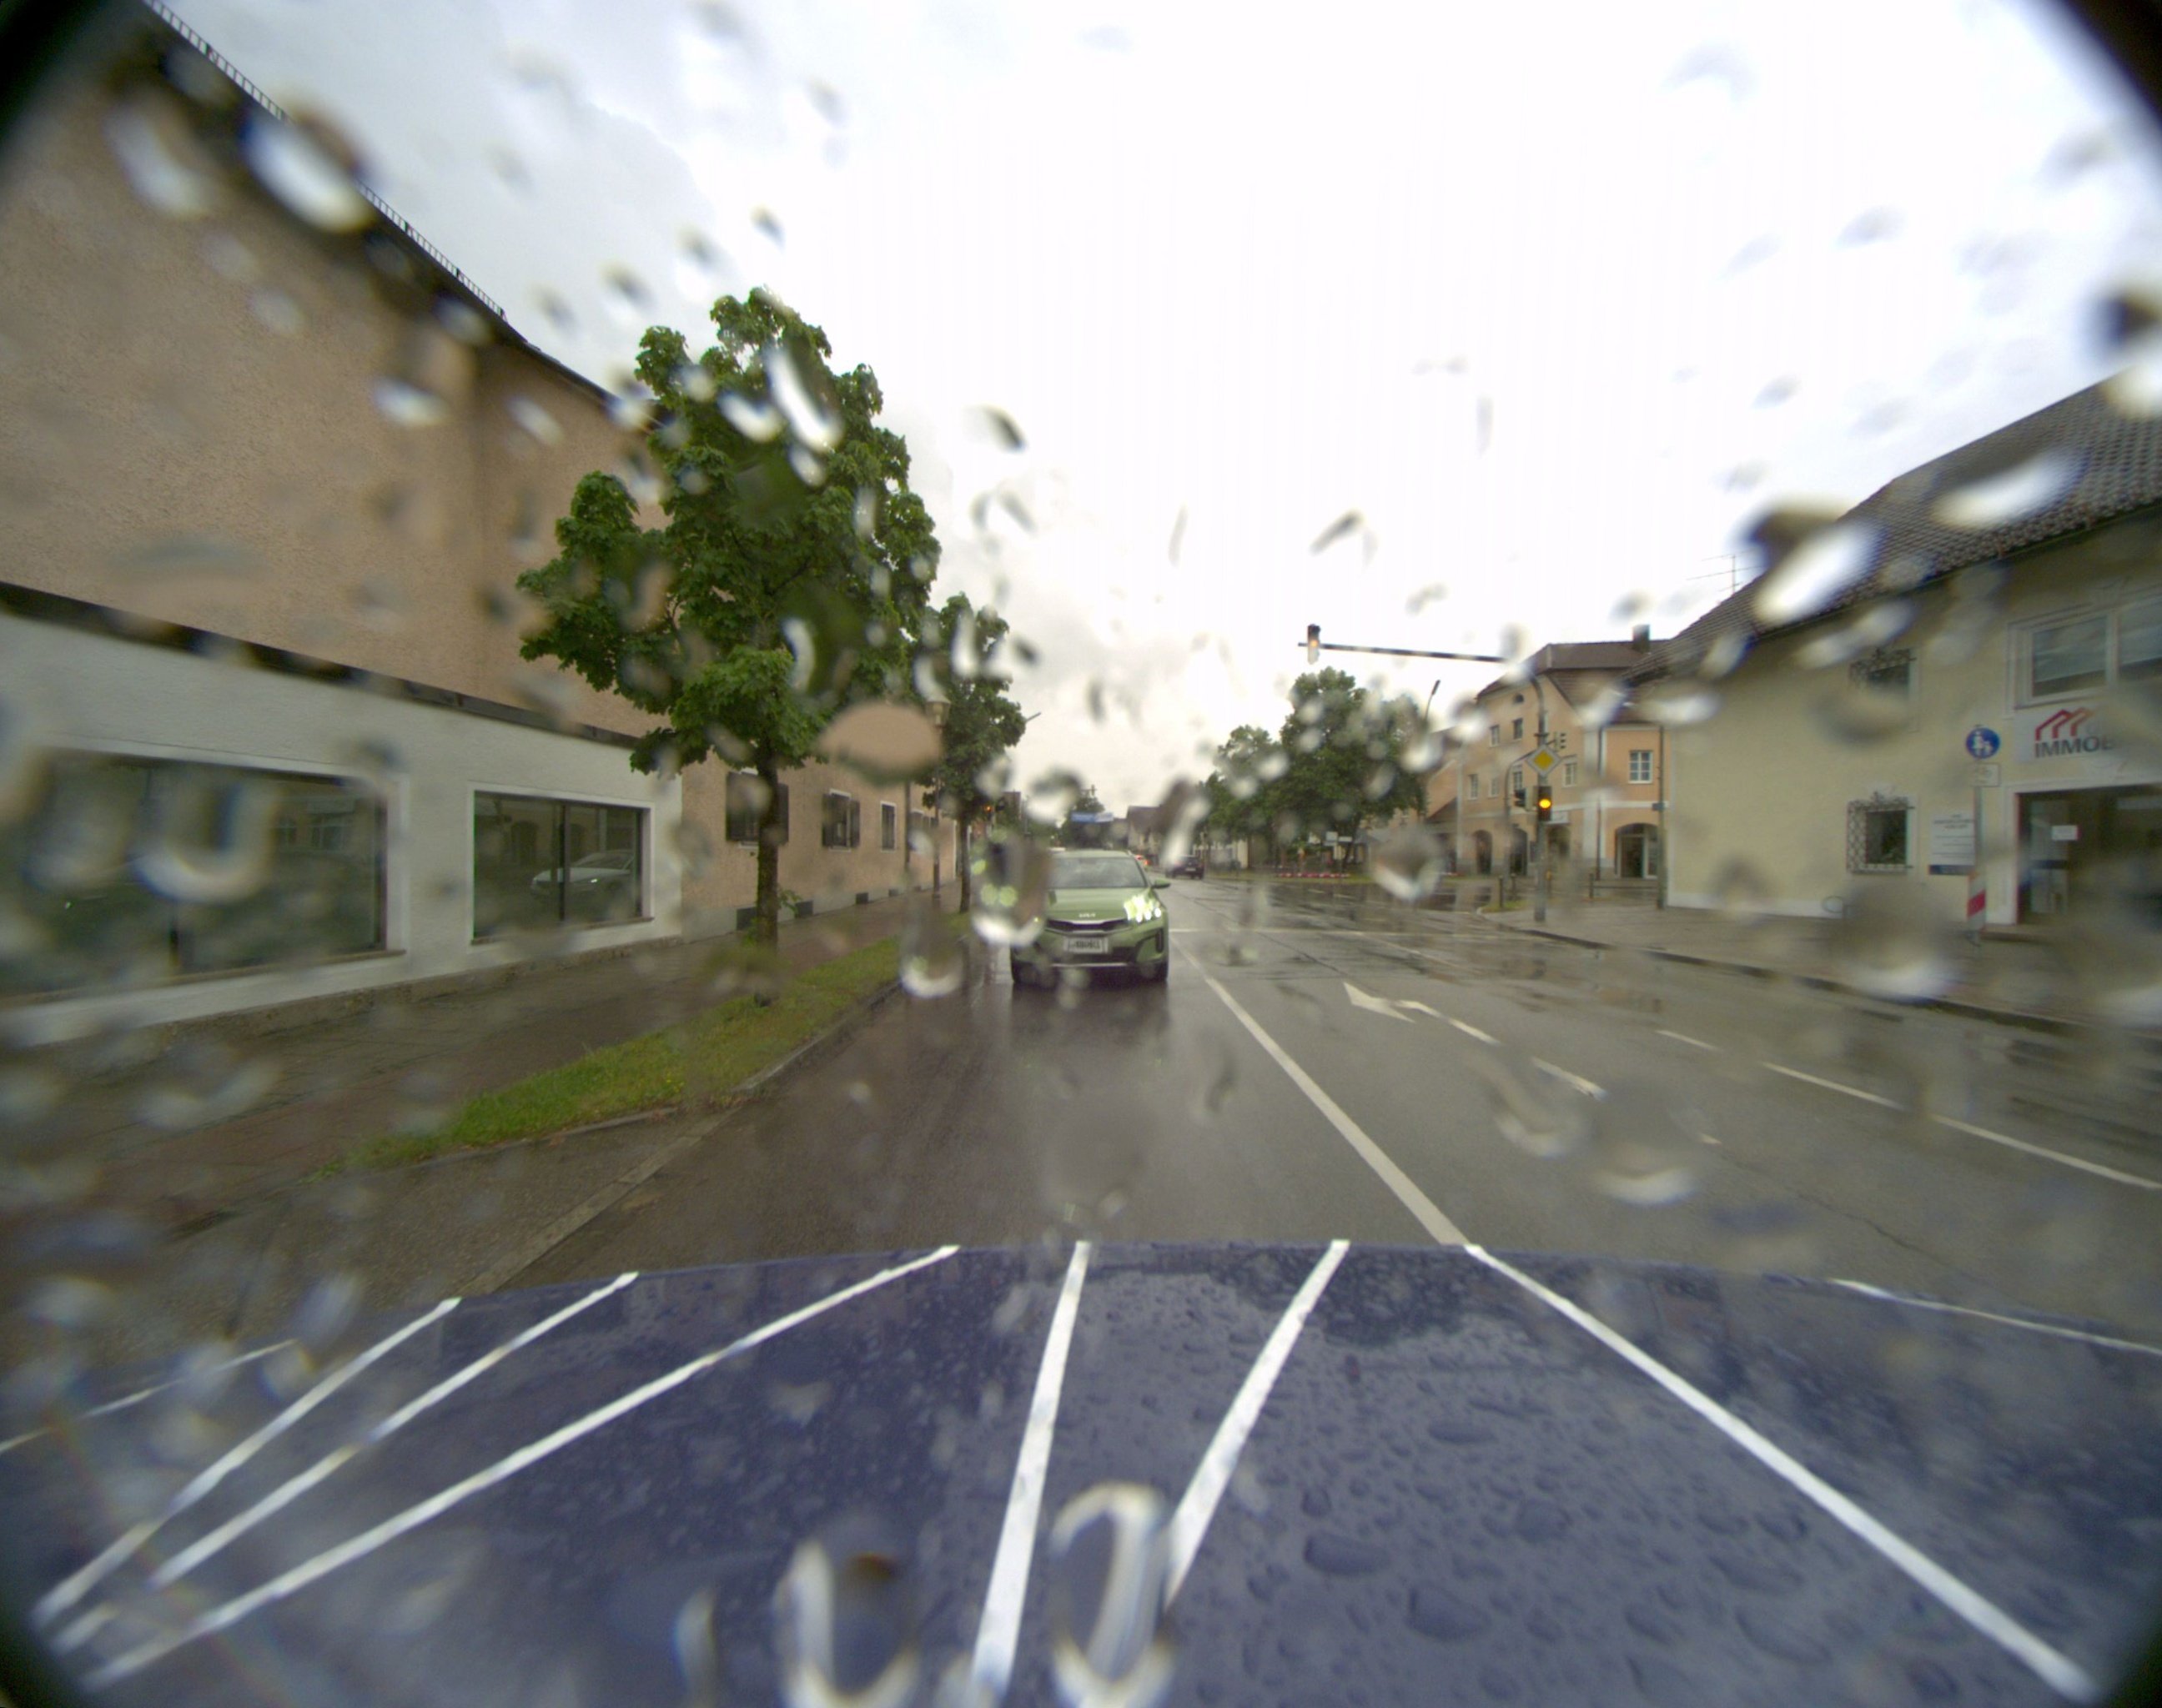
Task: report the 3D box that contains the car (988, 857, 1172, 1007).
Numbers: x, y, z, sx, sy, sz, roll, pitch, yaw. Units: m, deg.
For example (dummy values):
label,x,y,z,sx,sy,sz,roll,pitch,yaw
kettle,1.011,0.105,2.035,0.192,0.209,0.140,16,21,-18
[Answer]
label,x,y,z,sx,sy,sz,roll,pitch,yaw
car,0.033,0.815,9.893,1.872,1.504,4.105,-1,0,1

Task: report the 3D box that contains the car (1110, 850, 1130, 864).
label,x,y,z,sx,sy,sz,roll,pitch,yaw
car,4.363,0.300,85.766,1.931,1.557,4.125,1,1,0

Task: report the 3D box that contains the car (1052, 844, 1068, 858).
label,x,y,z,sx,sy,sz,roll,pitch,yaw
car,-3.216,-0.493,114.622,2.218,1.977,4.952,1,1,-4

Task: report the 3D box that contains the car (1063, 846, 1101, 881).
label,x,y,z,sx,sy,sz,roll,pitch,yaw
car,0.072,0.418,35.776,1.637,1.509,4.000,1,1,1

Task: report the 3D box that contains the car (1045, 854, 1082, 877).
label,x,y,z,sx,sy,sz,roll,pitch,yaw
car,-1.226,0.804,55.290,1.838,1.509,4.672,1,1,8

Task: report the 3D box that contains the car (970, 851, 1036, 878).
label,x,y,z,sx,sy,sz,roll,pitch,yaw
car,-5.180,0.694,50.184,4.039,1.656,1.854,1,1,-18

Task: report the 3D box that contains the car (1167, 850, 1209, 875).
label,x,y,z,sx,sy,sz,roll,pitch,yaw
car,6.273,0.468,44.864,2.001,1.399,3.883,1,1,1

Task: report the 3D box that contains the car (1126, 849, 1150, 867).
label,x,y,z,sx,sy,sz,roll,pitch,yaw
car,5.183,0.353,69.450,1.757,1.502,4.229,1,1,-1
